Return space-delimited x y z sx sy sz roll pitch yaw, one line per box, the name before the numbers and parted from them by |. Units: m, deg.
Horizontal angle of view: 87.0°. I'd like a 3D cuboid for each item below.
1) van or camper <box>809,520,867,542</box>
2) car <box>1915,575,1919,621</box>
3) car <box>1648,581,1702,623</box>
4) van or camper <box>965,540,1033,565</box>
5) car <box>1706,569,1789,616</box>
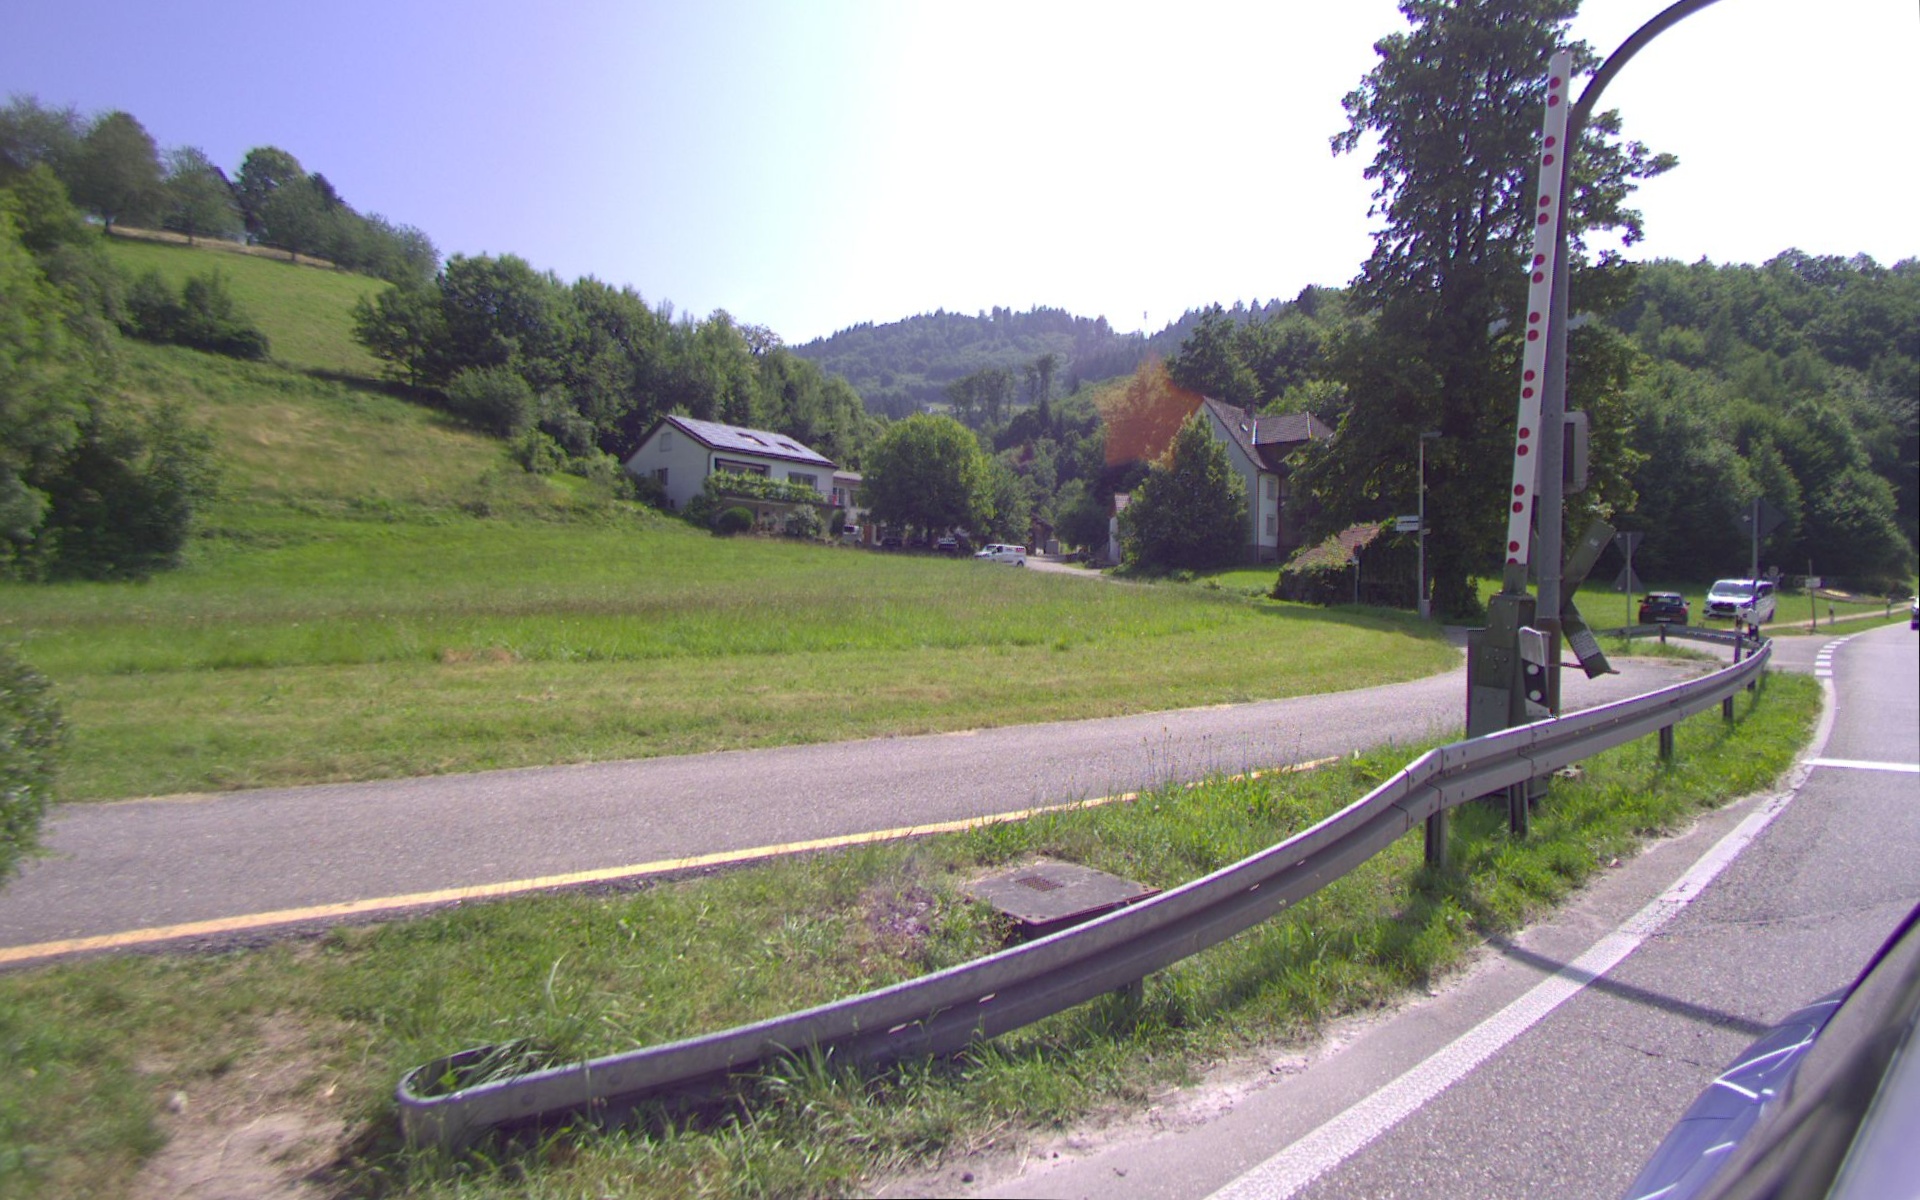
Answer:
van or camper | -10.506 -5.957 87.575 2.023 1.662 4.976 1 2 39
car | 40.656 -0.104 41.431 2.111 1.836 4.388 2 2 42
car | 29.399 0.037 41.655 1.669 1.474 3.670 3 4 35
van or camper | 3.325 -4.017 86.202 5.342 1.973 2.814 -1 2 -41
car | 36.291 -0.393 46.589 4.784 1.870 2.005 -1 7 -41
